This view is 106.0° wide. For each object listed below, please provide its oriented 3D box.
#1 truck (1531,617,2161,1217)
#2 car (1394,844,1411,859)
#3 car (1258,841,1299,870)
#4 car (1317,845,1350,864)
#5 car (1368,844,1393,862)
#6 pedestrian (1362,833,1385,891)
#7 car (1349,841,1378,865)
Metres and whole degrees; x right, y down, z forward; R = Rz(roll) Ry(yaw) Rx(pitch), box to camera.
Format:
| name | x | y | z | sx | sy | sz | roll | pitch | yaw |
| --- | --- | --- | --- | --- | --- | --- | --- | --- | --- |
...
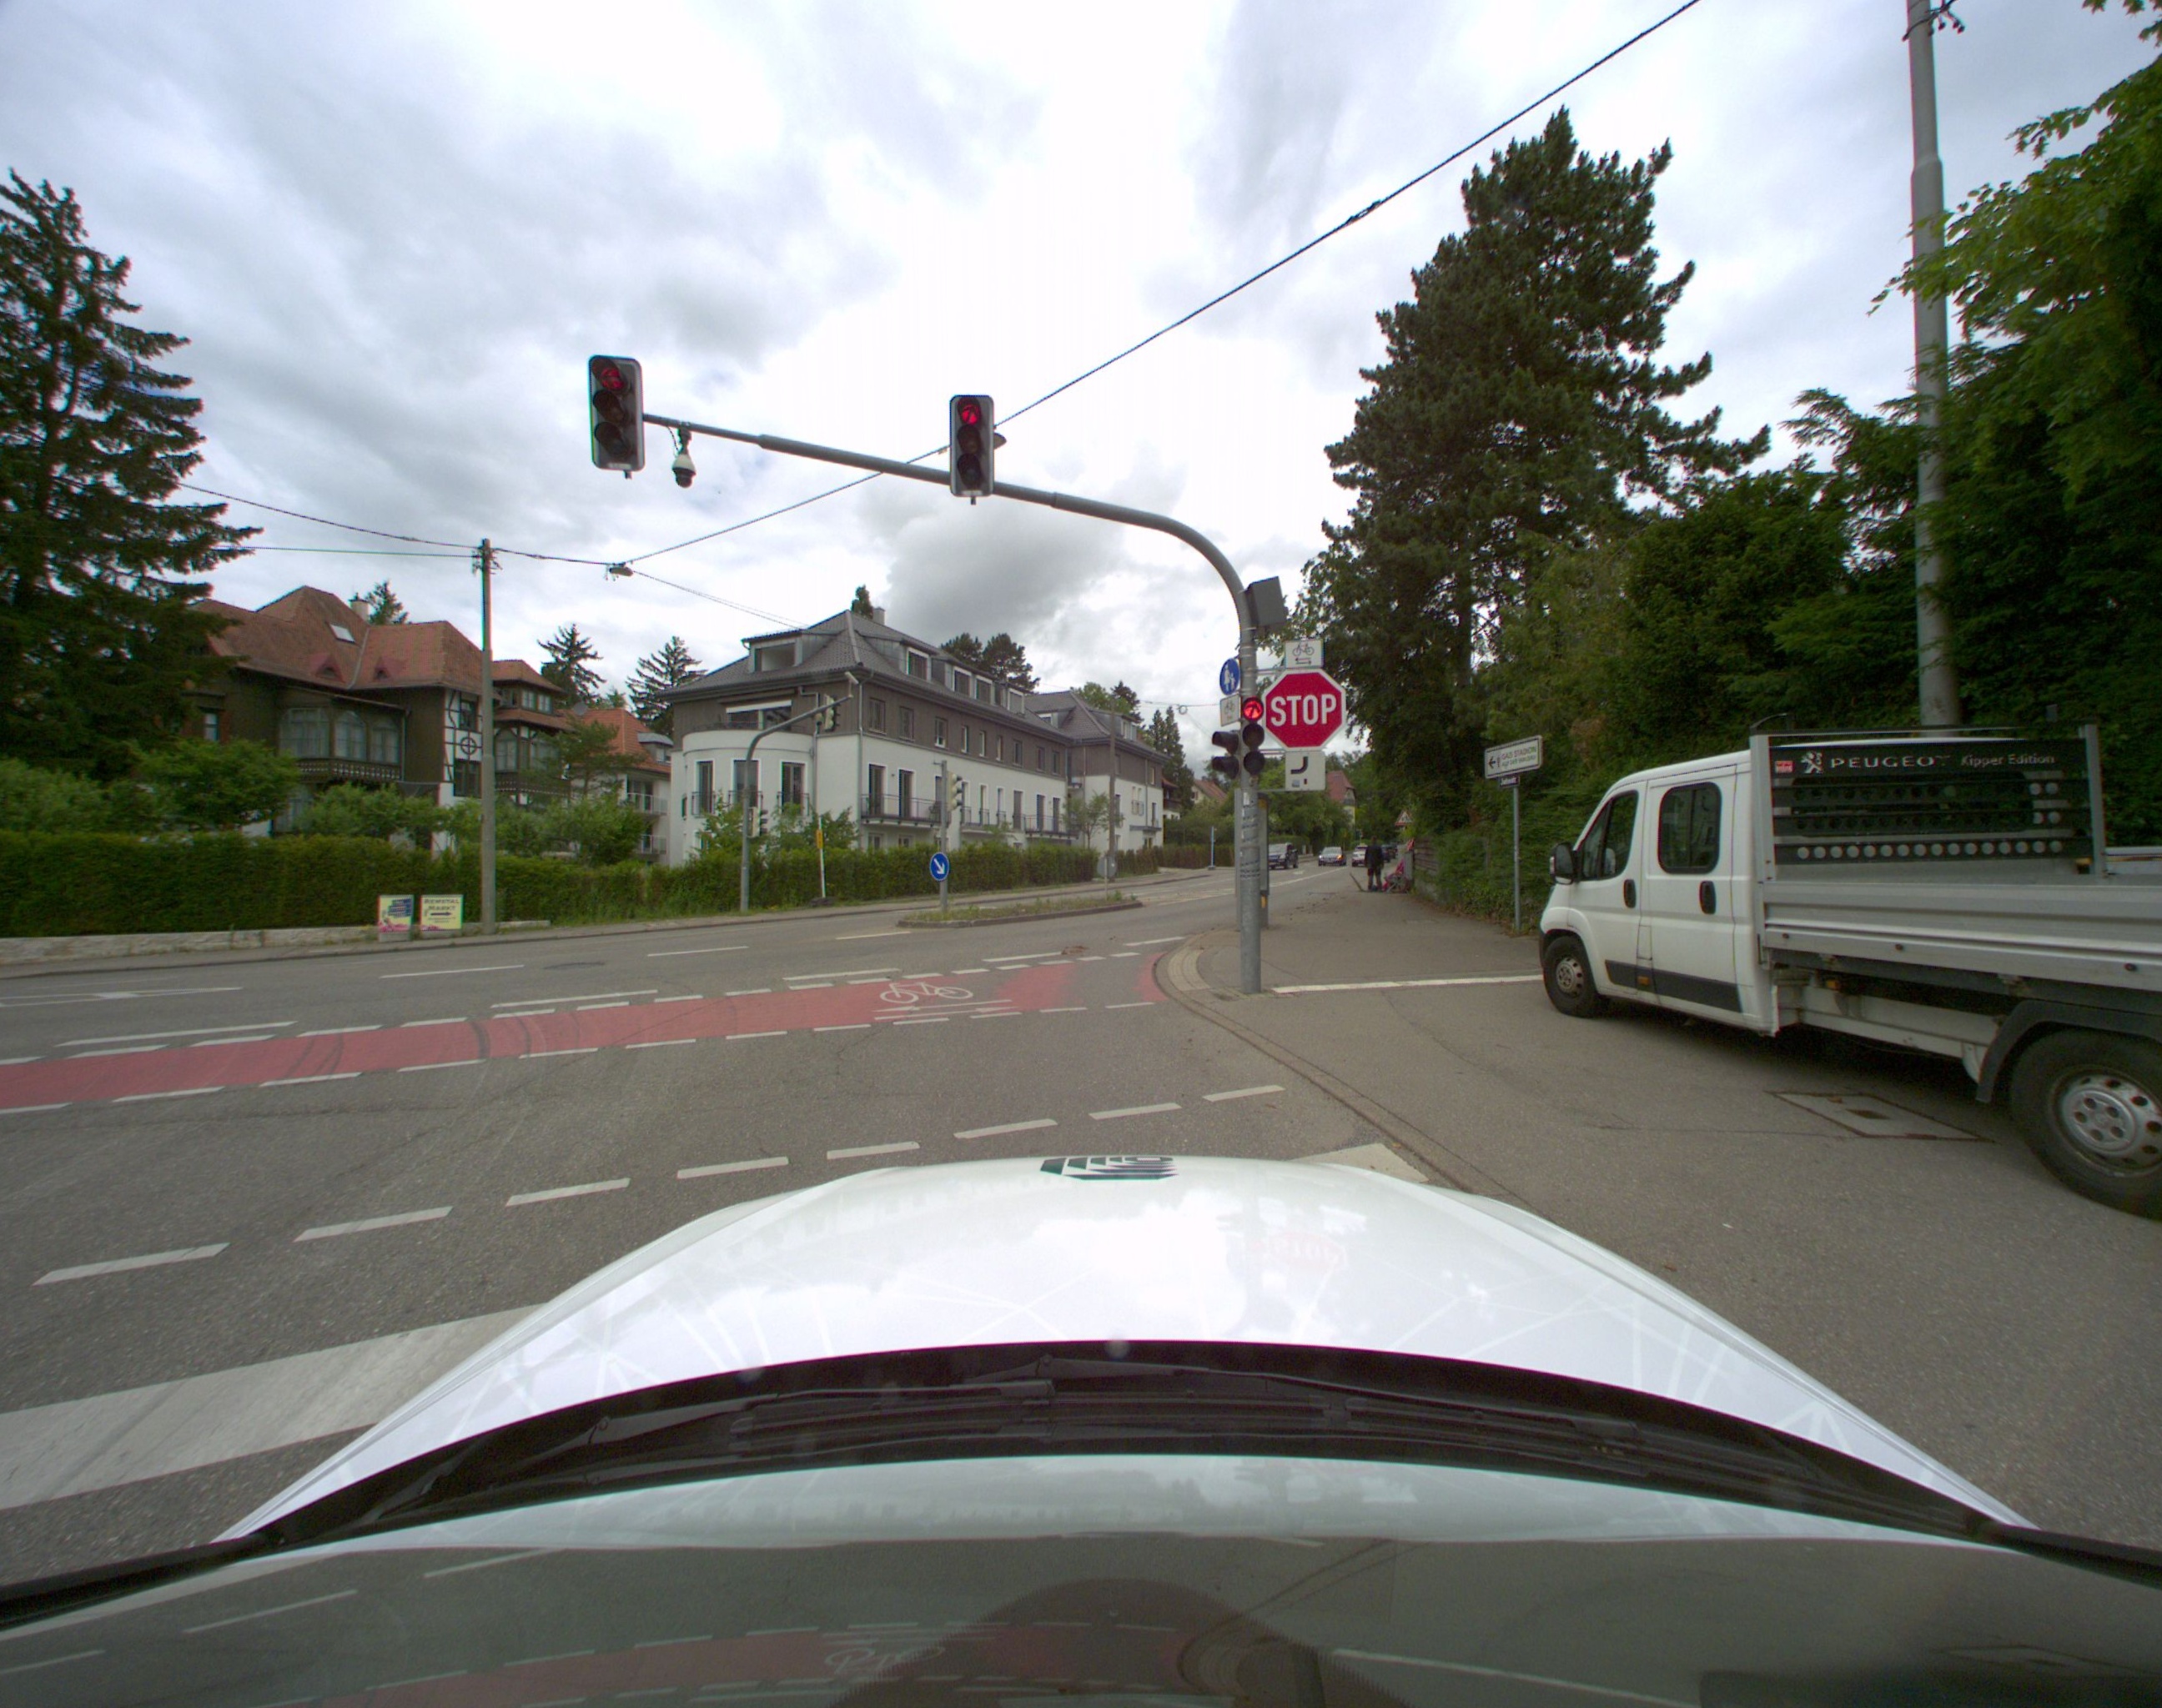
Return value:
| name | x | y | z | sx | sy | sz | roll | pitch | yaw |
| --- | --- | --- | --- | --- | --- | --- | --- | --- | --- |
| truck | 5.270 | 0.236 | 4.955 | 2.198 | 2.243 | 5.729 | 0 | 0 | 4 |
| car | 41.668 | -0.307 | 105.483 | 1.902 | 1.894 | 4.935 | 1 | 1 | 23 |
| car | 14.051 | 0.099 | 57.678 | 1.895 | 1.881 | 5.170 | -2 | -1 | 24 |
| car | 19.887 | 0.017 | 64.035 | 1.921 | 1.403 | 4.770 | -1 | 0 | 25 |
| car | 27.535 | -0.116 | 74.766 | 1.783 | 1.527 | 4.770 | -2 | 0 | 24 |
| pedestrian | 9.790 | 0.269 | 27.269 | 0.594 | 1.907 | 0.559 | 0 | -1 | 2 |
| car | 21.547 | -0.104 | 62.127 | 1.791 | 1.753 | 4.511 | -2 | 0 | 22 |
